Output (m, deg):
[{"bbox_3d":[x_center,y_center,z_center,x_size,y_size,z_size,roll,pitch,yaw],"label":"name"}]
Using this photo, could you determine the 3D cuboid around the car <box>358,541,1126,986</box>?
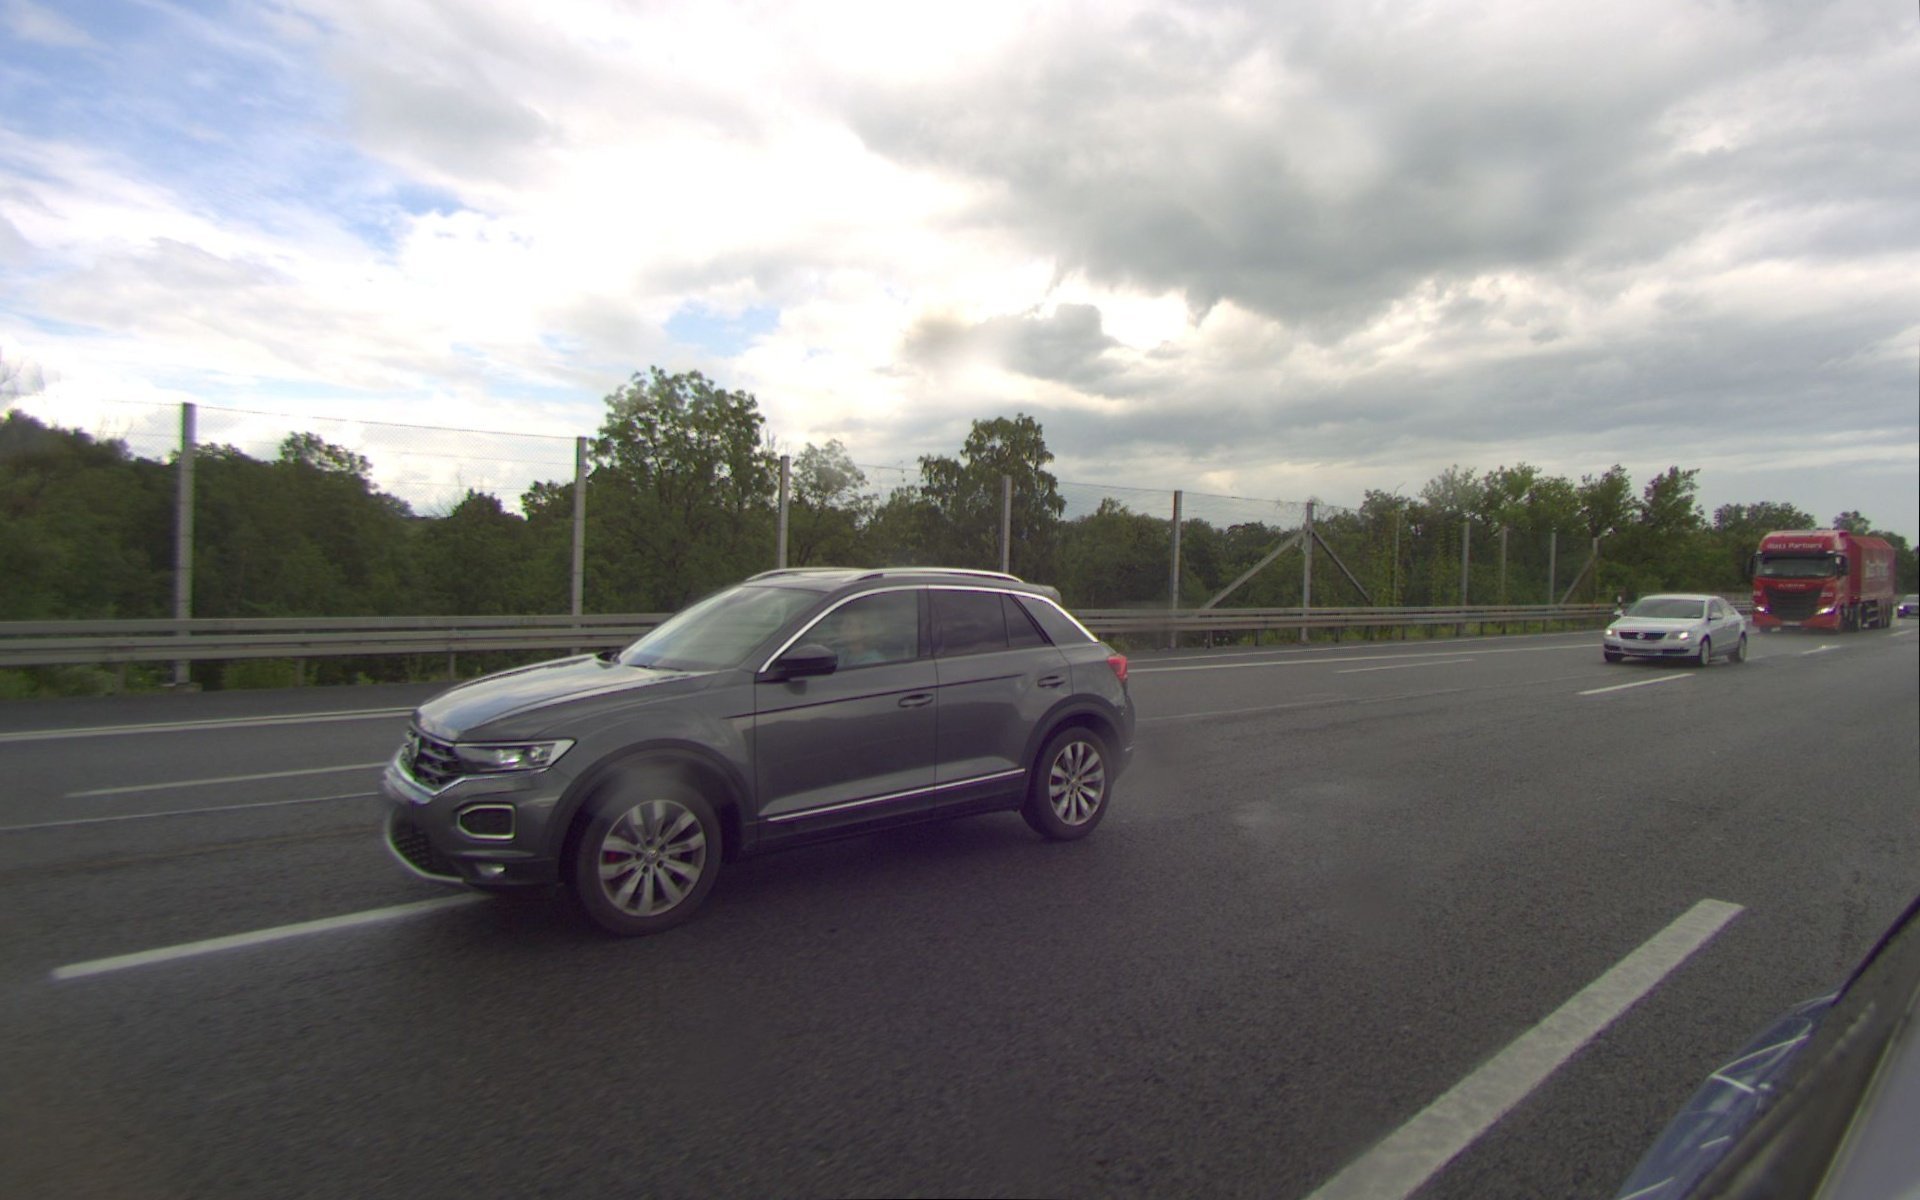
[{"bbox_3d":[-0.999,0.559,5.468,3.655,1.582,1.796,0,1,-40],"label":"car"}]

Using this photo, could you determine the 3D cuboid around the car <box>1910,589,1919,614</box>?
[{"bbox_3d":[61.501,0.134,64.050,4.285,1.562,1.816,0,1,-44],"label":"car"}]

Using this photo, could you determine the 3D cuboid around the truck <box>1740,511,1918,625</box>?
[{"bbox_3d":[36.534,-1.118,42.155,15.357,4.054,3.159,0,1,-40],"label":"truck"}]

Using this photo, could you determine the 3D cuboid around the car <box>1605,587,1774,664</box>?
[{"bbox_3d":[15.579,0.493,21.555,4.169,1.465,1.898,0,1,-39],"label":"car"}]
